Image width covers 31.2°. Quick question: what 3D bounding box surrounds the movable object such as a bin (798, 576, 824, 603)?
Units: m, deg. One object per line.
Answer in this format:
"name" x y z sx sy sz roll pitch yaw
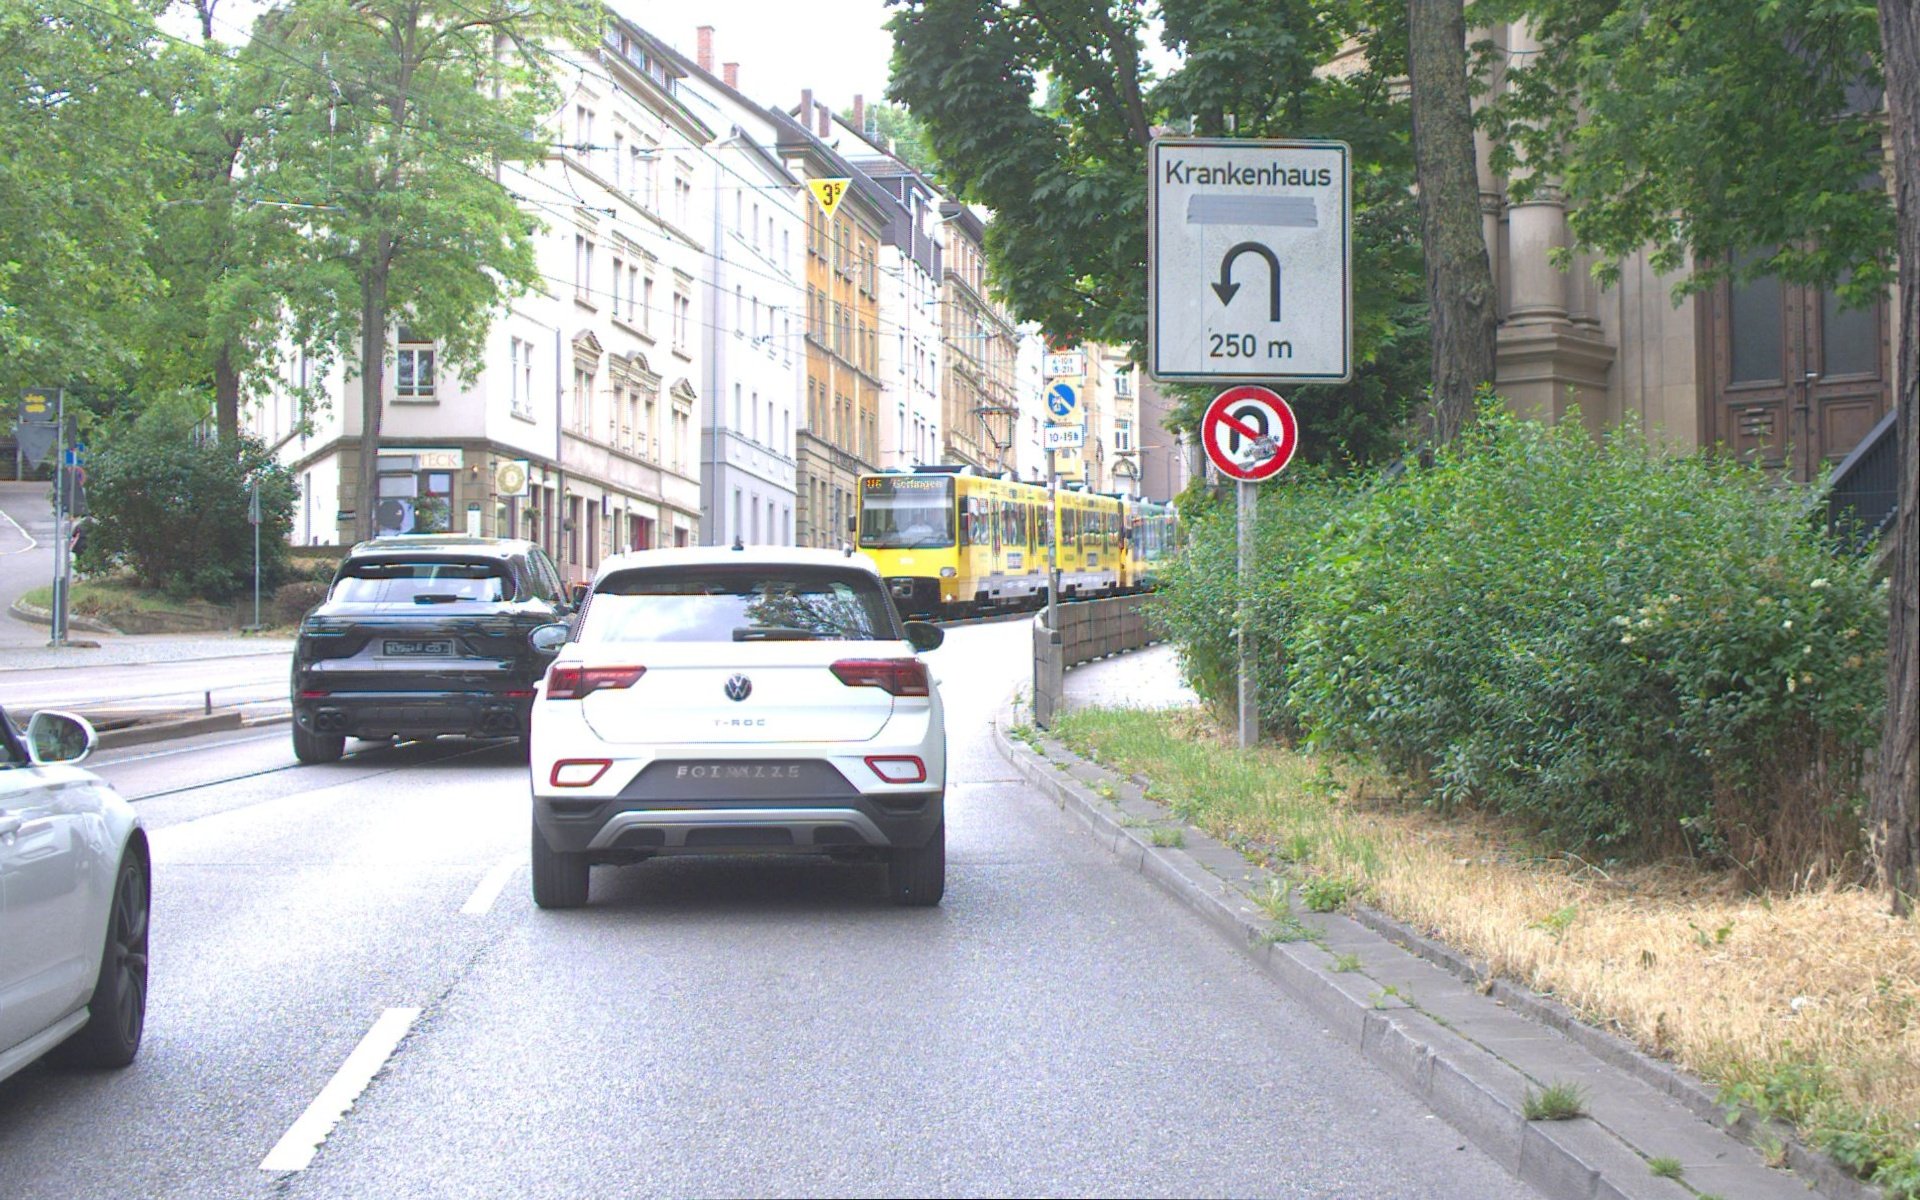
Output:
"movable object such as a bin" -5.163 -0.369 119.194 0.779 0.944 0.653 0 0 9

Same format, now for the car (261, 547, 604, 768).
"car" -3.983 0.389 26.669 2.038 1.566 4.358 0 1 -1

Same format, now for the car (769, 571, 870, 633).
"car" -3.602 0.034 88.793 1.994 1.547 3.999 -1 1 7

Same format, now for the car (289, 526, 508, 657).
"car" -8.680 -0.170 53.633 1.948 1.939 5.001 0 1 8

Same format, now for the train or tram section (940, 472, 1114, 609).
"train or tram section" 2.261 -1.723 103.974 2.877 3.713 18.696 1 1 8

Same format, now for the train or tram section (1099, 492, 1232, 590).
"train or tram section" 8.602 -2.343 140.794 2.877 3.713 18.747 1 1 11

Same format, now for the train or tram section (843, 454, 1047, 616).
"train or tram section" -0.164 -1.587 87.374 2.883 3.713 14.851 1 1 8

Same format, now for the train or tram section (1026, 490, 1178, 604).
"train or tram section" 5.274 -1.846 122.812 2.877 3.713 18.748 1 1 10

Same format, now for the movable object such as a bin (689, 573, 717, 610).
"movable object such as a bin" -7.583 -0.251 101.326 0.687 1.070 0.676 0 0 9

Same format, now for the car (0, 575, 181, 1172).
"car" -3.288 0.674 8.411 1.878 1.450 4.618 0 1 -2

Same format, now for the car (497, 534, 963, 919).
"car" -1.083 0.488 15.940 1.878 1.549 4.001 0 1 -4
